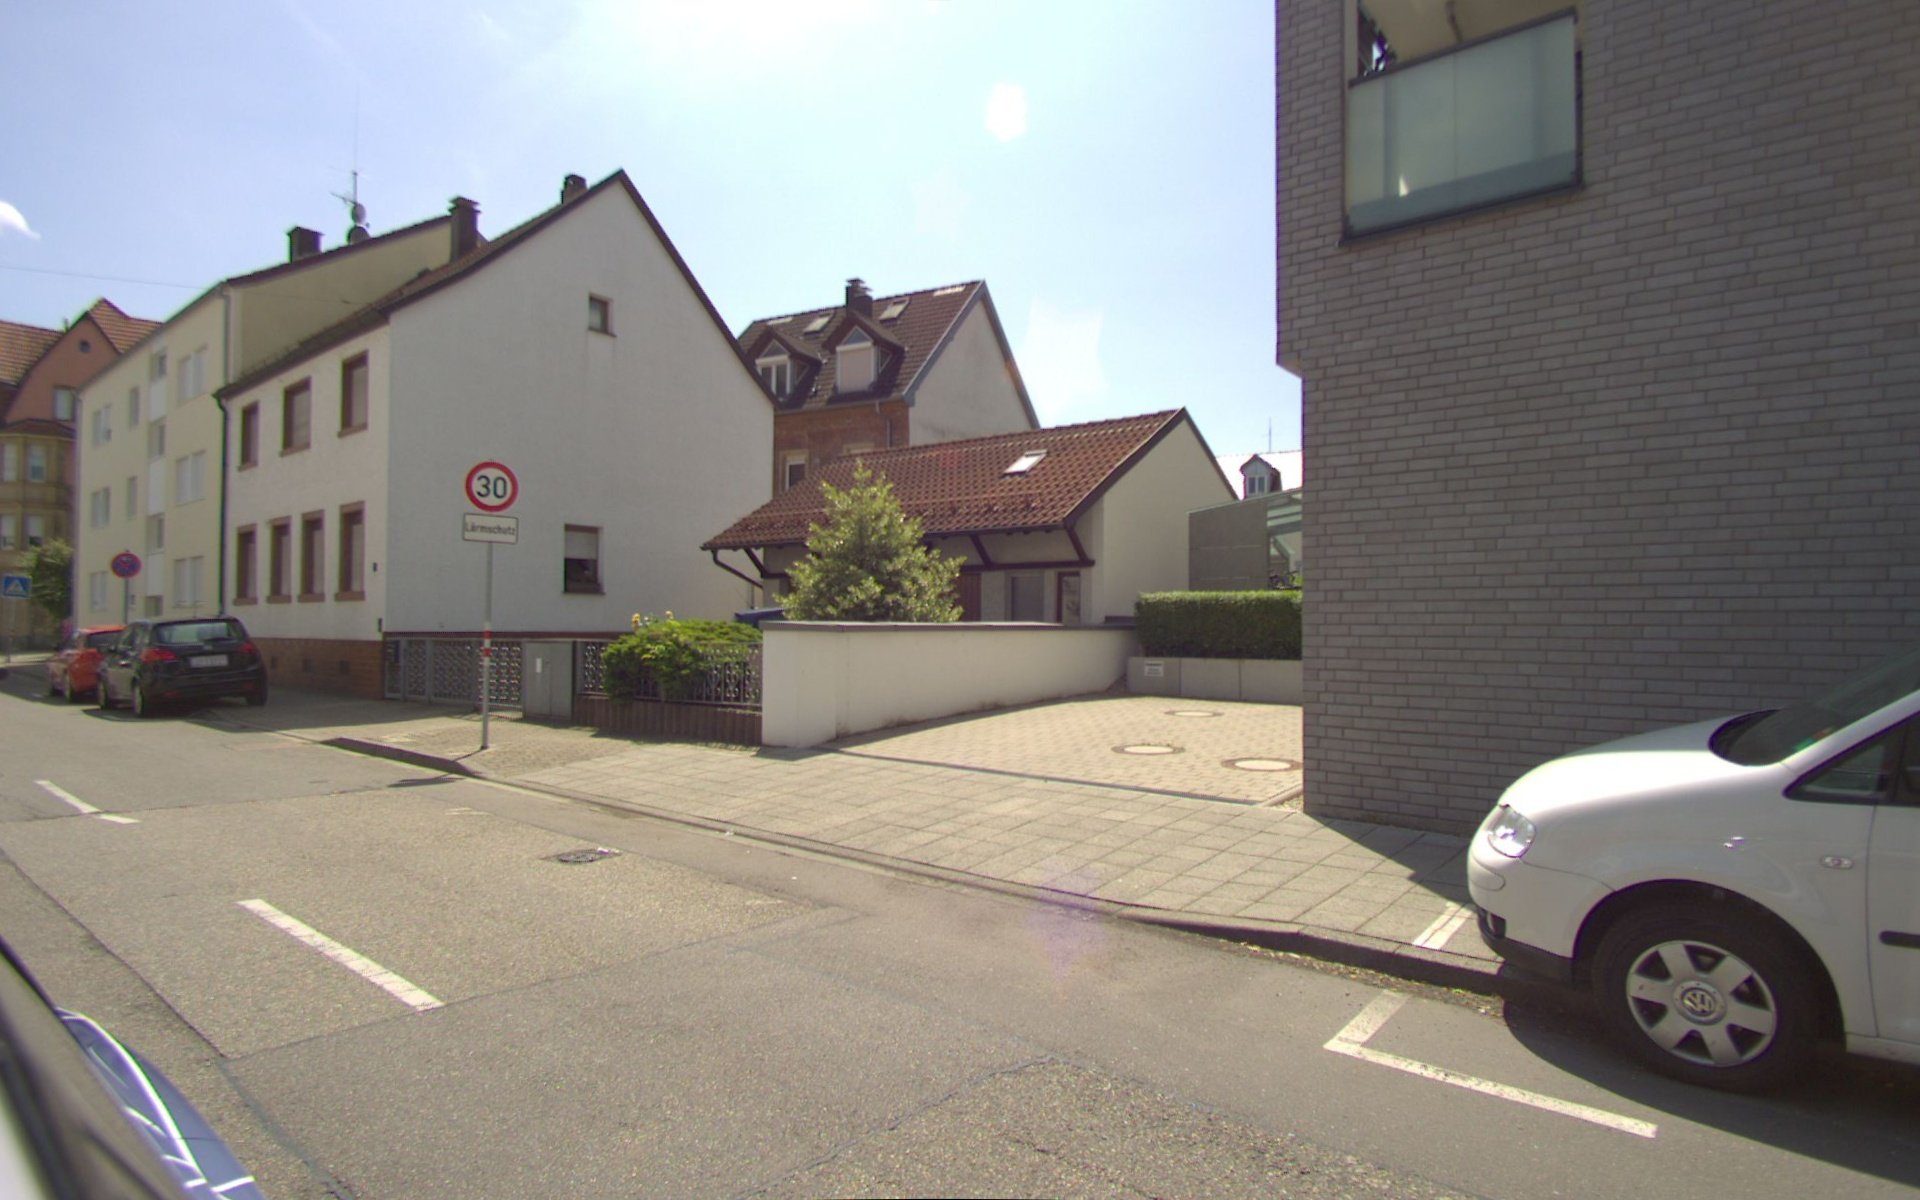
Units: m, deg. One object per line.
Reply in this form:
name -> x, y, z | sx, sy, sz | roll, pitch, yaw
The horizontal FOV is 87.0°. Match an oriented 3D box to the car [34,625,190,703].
car -> -17.398, 1.222, 20.696 | 4.288, 1.427, 1.814 | -1, -2, 42

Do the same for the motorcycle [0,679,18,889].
motorcycle -> -5.926, 0.984, 5.637 | 1.990, 1.063, 0.750 | -2, -1, 40

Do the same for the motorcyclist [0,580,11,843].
motorcyclist -> -5.909, 0.622, 5.643 | 1.019, 1.451, 0.783 | -2, -2, 40

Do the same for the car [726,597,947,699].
car -> -2.083, 0.761, 17.153 | 3.508, 1.551, 1.641 | -1, 0, -7

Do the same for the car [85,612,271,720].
car -> -13.665, 1.055, 17.606 | 3.941, 1.659, 1.776 | -1, -1, 40

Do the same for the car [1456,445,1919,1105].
car -> 4.035, 0.472, 2.922 | 4.336, 1.906, 1.738 | -1, 0, 43
